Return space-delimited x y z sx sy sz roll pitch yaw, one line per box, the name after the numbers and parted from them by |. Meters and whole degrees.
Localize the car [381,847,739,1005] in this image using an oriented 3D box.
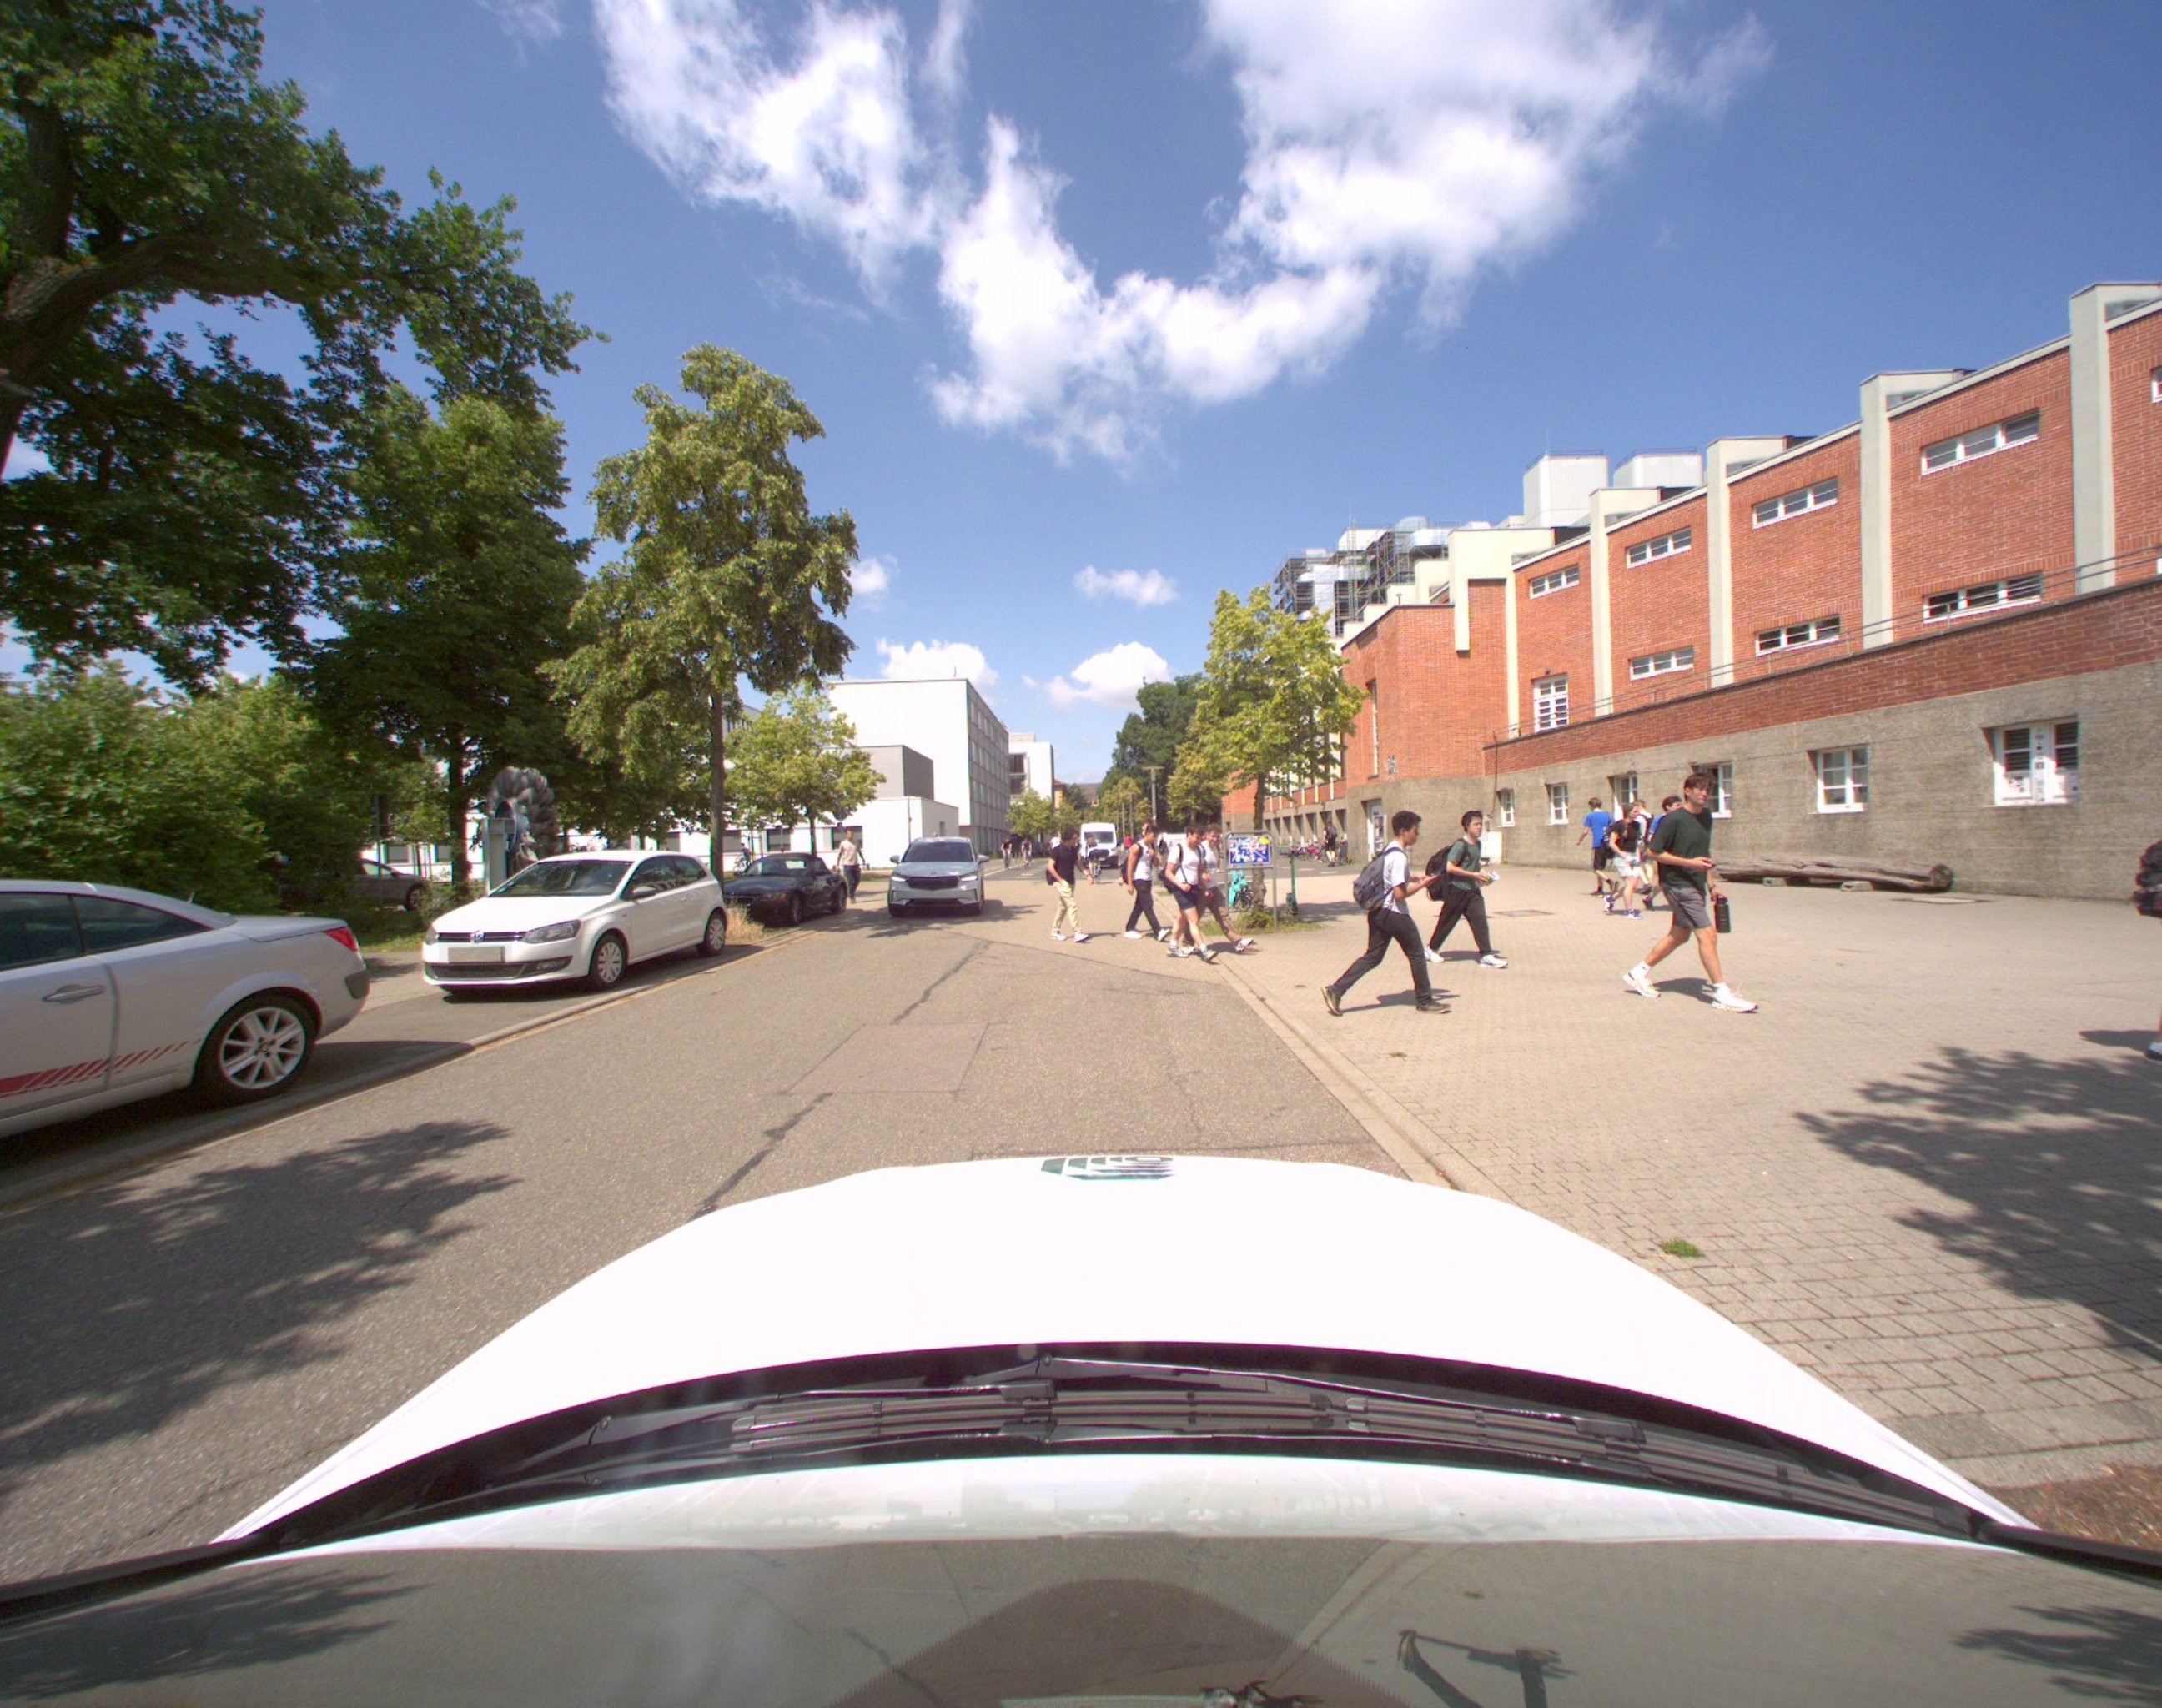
-5.654 0.654 9.493 1.656 1.411 3.807 -1 1 0 | car

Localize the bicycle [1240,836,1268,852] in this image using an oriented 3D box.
12.210 -0.716 57.602 1.803 0.985 0.560 -4 1 0 | bicycle

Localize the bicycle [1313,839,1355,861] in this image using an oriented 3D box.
11.964 -0.193 38.536 1.803 0.912 0.560 -3 1 0 | bicycle

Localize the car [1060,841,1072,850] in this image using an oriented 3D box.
-2.658 -1.479 147.336 1.787 1.530 4.006 -2 1 5 | car

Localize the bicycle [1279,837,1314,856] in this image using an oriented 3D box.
12.313 -0.420 46.456 1.803 0.985 0.560 -4 1 0 | bicycle

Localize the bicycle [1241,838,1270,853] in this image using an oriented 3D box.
12.130 -0.596 56.640 1.803 0.985 0.560 -4 1 0 | bicycle

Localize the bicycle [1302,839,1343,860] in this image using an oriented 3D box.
11.850 -0.218 39.940 1.803 0.912 0.560 -4 1 0 | bicycle

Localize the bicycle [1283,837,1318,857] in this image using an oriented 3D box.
12.311 -0.392 45.722 1.803 0.985 0.560 -4 1 0 | bicycle

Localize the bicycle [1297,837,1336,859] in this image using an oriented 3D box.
12.063 -0.315 41.704 1.803 0.985 0.560 -4 1 0 | bicycle

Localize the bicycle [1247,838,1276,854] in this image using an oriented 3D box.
12.030 -0.544 54.304 1.803 0.985 0.560 -4 1 0 | bicycle

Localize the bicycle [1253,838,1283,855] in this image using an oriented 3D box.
12.115 -0.519 52.769 1.803 0.985 0.560 -4 1 0 | bicycle

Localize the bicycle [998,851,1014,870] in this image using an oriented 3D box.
-3.983 0.324 43.371 0.675 0.964 2.002 -1 1 -1 | bicycle

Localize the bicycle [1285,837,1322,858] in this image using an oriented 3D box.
11.937 -0.340 43.664 1.803 0.985 0.560 -4 1 0 | bicycle

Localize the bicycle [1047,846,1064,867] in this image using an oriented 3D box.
-1.218 0.140 39.038 0.806 1.002 2.122 0 -1 -2 | bicycle

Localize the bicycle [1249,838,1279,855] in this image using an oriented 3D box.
12.039 -0.516 53.598 1.803 0.985 0.560 -4 1 0 | bicycle

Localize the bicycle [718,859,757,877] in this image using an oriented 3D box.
-19.362 0.795 45.910 2.097 1.002 0.816 -1 0 27 | bicycle

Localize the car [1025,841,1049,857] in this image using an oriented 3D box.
-4.352 -0.507 81.266 1.787 1.530 4.006 -2 1 5 | car

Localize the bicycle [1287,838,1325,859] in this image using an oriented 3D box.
11.901 -0.310 43.030 1.803 0.985 0.560 -4 1 0 | bicycle

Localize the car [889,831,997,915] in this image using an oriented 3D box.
-2.896 0.367 18.024 1.914 1.619 4.514 1 0 -4 | car

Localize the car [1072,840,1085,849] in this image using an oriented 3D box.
-0.450 -1.781 147.088 1.787 1.530 4.006 -2 1 5 | car

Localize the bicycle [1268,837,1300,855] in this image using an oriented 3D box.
12.510 -0.498 50.231 1.803 0.985 0.560 -4 1 0 | bicycle

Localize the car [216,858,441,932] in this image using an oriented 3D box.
-20.557 1.033 22.575 1.921 1.516 4.442 -5 2 0 | car

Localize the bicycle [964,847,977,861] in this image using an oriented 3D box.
-8.034 0.006 59.204 0.520 0.985 1.635 -4 1 5 | bicycle

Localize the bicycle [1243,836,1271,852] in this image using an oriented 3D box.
12.099 -0.672 56.001 1.803 0.985 0.560 -4 1 0 | bicycle

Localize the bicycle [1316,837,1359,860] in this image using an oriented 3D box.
11.869 -0.255 37.680 1.803 0.912 0.560 -3 1 0 | bicycle

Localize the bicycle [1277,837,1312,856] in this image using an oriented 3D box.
12.337 -0.430 47.043 1.803 0.985 0.560 -4 1 0 | bicycle

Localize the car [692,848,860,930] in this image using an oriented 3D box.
-5.810 0.602 16.054 1.639 1.300 3.930 -3 1 2 | car

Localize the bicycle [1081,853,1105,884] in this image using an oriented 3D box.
0.390 0.483 28.176 0.705 0.993 1.909 -1 2 -3 | bicycle

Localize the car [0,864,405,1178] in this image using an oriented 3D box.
-5.717 0.788 3.675 1.718 1.343 4.168 0 1 2 | car

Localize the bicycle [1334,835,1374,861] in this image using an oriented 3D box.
11.972 -0.264 35.749 1.530 1.033 0.560 -3 1 0 | bicycle

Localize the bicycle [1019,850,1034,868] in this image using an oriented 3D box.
-2.995 0.264 45.188 0.674 0.964 2.003 -1 1 0 | bicycle

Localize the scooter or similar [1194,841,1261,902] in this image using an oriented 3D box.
3.189 0.385 17.767 1.248 1.265 0.644 -2 1 32 | scooter or similar

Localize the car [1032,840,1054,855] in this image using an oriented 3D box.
-4.090 -0.757 88.678 1.787 1.530 4.006 -2 1 5 | car
